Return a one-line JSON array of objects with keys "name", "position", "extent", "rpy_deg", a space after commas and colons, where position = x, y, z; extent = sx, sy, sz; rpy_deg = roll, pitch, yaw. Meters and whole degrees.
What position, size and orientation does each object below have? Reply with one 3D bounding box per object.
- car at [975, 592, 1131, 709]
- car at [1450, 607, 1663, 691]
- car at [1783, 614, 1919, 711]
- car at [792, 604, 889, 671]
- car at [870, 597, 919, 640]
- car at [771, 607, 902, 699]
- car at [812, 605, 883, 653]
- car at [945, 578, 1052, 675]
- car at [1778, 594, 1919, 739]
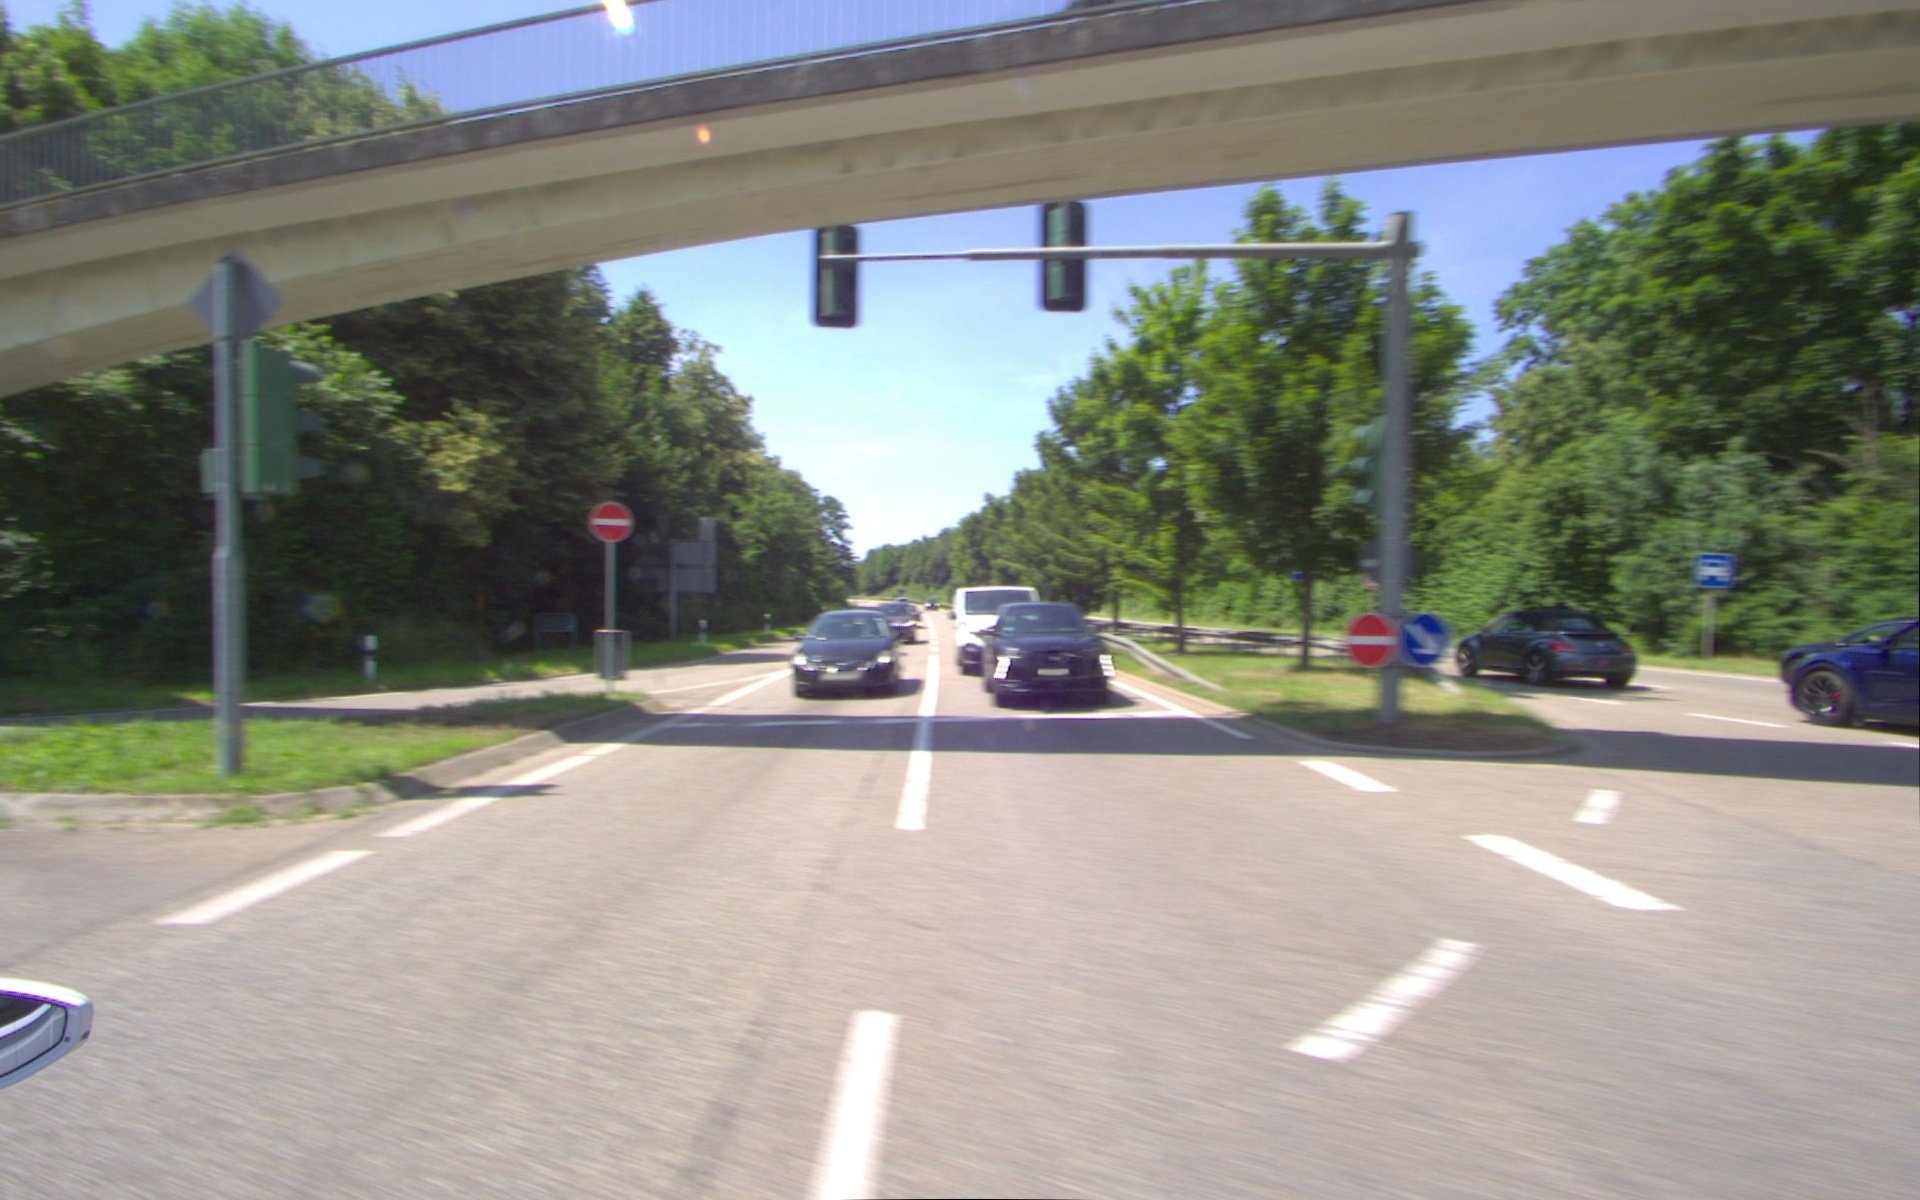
[{"name": "car", "position": [1.314, 0.709, 15.852], "extent": [1.961, 1.543, 4.027], "rpy_deg": [-2, 0, -1]}, {"name": "car", "position": [11.900, 0.911, 20.332], "extent": [1.869, 1.497, 3.938], "rpy_deg": [1, 0, -1]}, {"name": "car", "position": [16.036, 1.004, 16.142], "extent": [1.869, 1.497, 4.380], "rpy_deg": [0, 0, -1]}, {"name": "car", "position": [-2.809, 0.853, 24.363], "extent": [1.975, 1.480, 4.055], "rpy_deg": [0, 0, -1]}, {"name": "car", "position": [-2.592, 0.740, 40.435], "extent": [1.831, 1.637, 4.055], "rpy_deg": [0, 0, -1]}, {"name": "car", "position": [-2.113, 0.873, 18.250], "extent": [1.975, 1.480, 4.055], "rpy_deg": [0, 0, -1]}, {"name": "car", "position": [-3.681, 0.936, 33.389], "extent": [1.975, 1.480, 4.055], "rpy_deg": [1, 0, -1]}, {"name": "car", "position": [0.772, 0.569, 23.698], "extent": [2.172, 2.019, 5.488], "rpy_deg": [0, 0, -1]}, {"name": "car", "position": [12.019, 0.804, 11.180], "extent": [1.869, 1.666, 4.519], "rpy_deg": [3, 0, -2]}]
